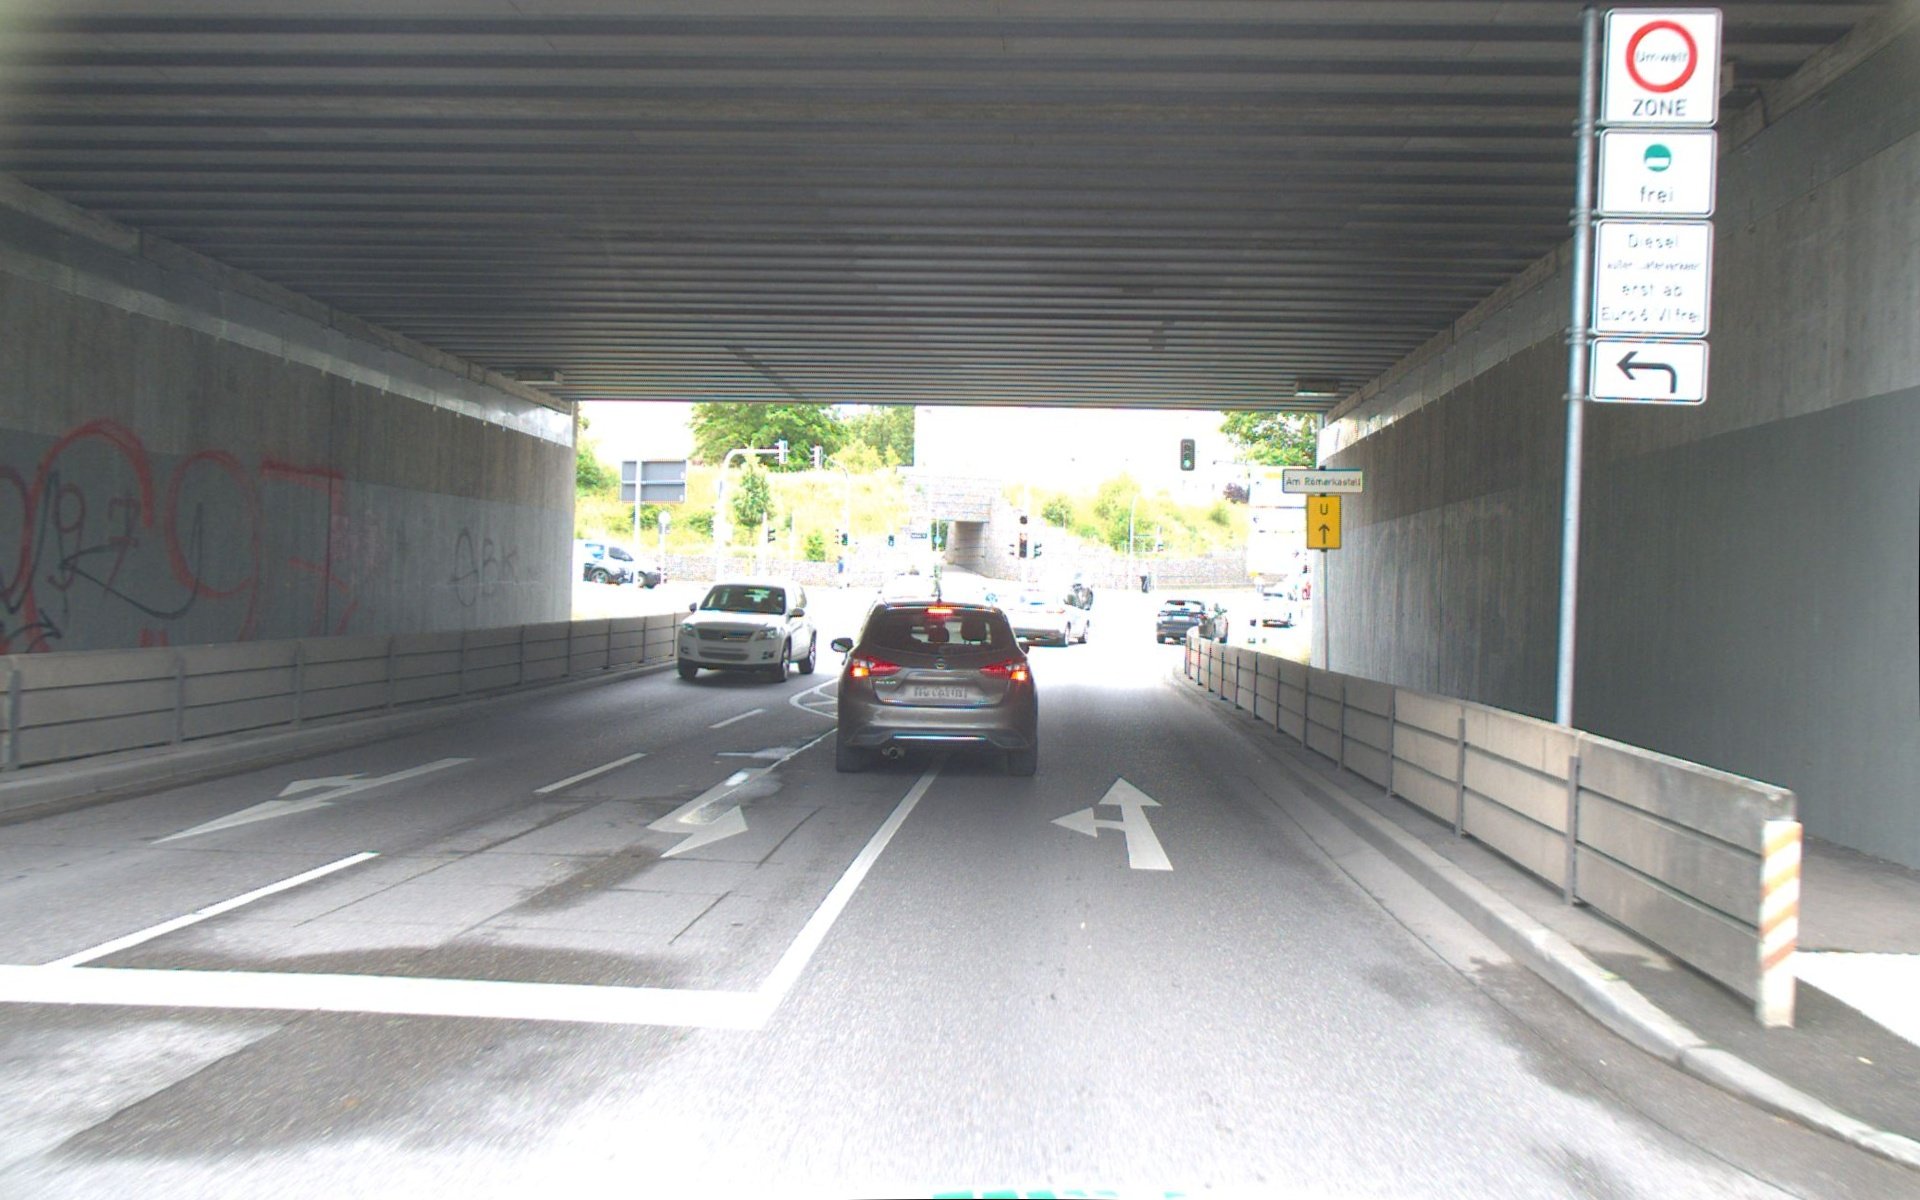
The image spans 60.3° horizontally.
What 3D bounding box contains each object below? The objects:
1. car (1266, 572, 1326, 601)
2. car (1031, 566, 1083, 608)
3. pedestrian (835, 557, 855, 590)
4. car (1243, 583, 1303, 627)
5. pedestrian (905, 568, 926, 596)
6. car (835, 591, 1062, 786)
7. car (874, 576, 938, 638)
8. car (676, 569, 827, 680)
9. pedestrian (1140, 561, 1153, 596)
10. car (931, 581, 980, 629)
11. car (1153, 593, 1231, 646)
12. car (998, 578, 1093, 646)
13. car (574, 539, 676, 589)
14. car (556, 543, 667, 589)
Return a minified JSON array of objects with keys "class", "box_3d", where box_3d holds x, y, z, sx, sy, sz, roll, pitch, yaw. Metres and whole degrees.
[{"class":"car","box_3d":[19.578,-0.799,96.263,1.812,1.479,3.984,6,4,36]},{"class":"car","box_3d":[4.266,-0.576,72.273,1.951,1.727,4.171,2,1,7]},{"class":"pedestrian","box_3d":[-5.869,-1.357,84.619,0.934,1.641,0.699,2,1,-6]},{"class":"car","box_3d":[12.806,0.177,67.528,1.952,1.646,4.002,2,1,17]},{"class":"pedestrian","box_3d":[-2.149,-0.860,79.300,0.893,1.244,0.729,5,1,-5]},{"class":"car","box_3d":[-0.230,0.716,15.521,1.808,1.519,3.997,2,0,-4]},{"class":"car","box_3d":[-1.593,0.180,50.084,1.652,1.738,3.790,2,1,1]},{"class":"car","box_3d":[-3.473,0.379,28.288,1.746,1.689,4.111,2,0,4]},{"class":"pedestrian","box_3d":[10.462,-1.205,92.777,0.592,1.895,0.597,2,1,-1]},{"class":"car","box_3d":[-0.153,0.164,61.329,1.727,1.619,4.000,2,1,0]},{"class":"car","box_3d":[7.240,0.571,51.309,1.859,1.492,4.003,2,1,15]},{"class":"car","box_3d":[2.435,0.308,46.282,1.791,1.735,3.871,3,1,15]},{"class":"car","box_3d":[-14.399,-1.535,71.296,3.904,1.981,2.001,2,1,2]},{"class":"car","box_3d":[-14.122,-1.388,67.038,3.902,1.623,1.874,3,1,11]}]
